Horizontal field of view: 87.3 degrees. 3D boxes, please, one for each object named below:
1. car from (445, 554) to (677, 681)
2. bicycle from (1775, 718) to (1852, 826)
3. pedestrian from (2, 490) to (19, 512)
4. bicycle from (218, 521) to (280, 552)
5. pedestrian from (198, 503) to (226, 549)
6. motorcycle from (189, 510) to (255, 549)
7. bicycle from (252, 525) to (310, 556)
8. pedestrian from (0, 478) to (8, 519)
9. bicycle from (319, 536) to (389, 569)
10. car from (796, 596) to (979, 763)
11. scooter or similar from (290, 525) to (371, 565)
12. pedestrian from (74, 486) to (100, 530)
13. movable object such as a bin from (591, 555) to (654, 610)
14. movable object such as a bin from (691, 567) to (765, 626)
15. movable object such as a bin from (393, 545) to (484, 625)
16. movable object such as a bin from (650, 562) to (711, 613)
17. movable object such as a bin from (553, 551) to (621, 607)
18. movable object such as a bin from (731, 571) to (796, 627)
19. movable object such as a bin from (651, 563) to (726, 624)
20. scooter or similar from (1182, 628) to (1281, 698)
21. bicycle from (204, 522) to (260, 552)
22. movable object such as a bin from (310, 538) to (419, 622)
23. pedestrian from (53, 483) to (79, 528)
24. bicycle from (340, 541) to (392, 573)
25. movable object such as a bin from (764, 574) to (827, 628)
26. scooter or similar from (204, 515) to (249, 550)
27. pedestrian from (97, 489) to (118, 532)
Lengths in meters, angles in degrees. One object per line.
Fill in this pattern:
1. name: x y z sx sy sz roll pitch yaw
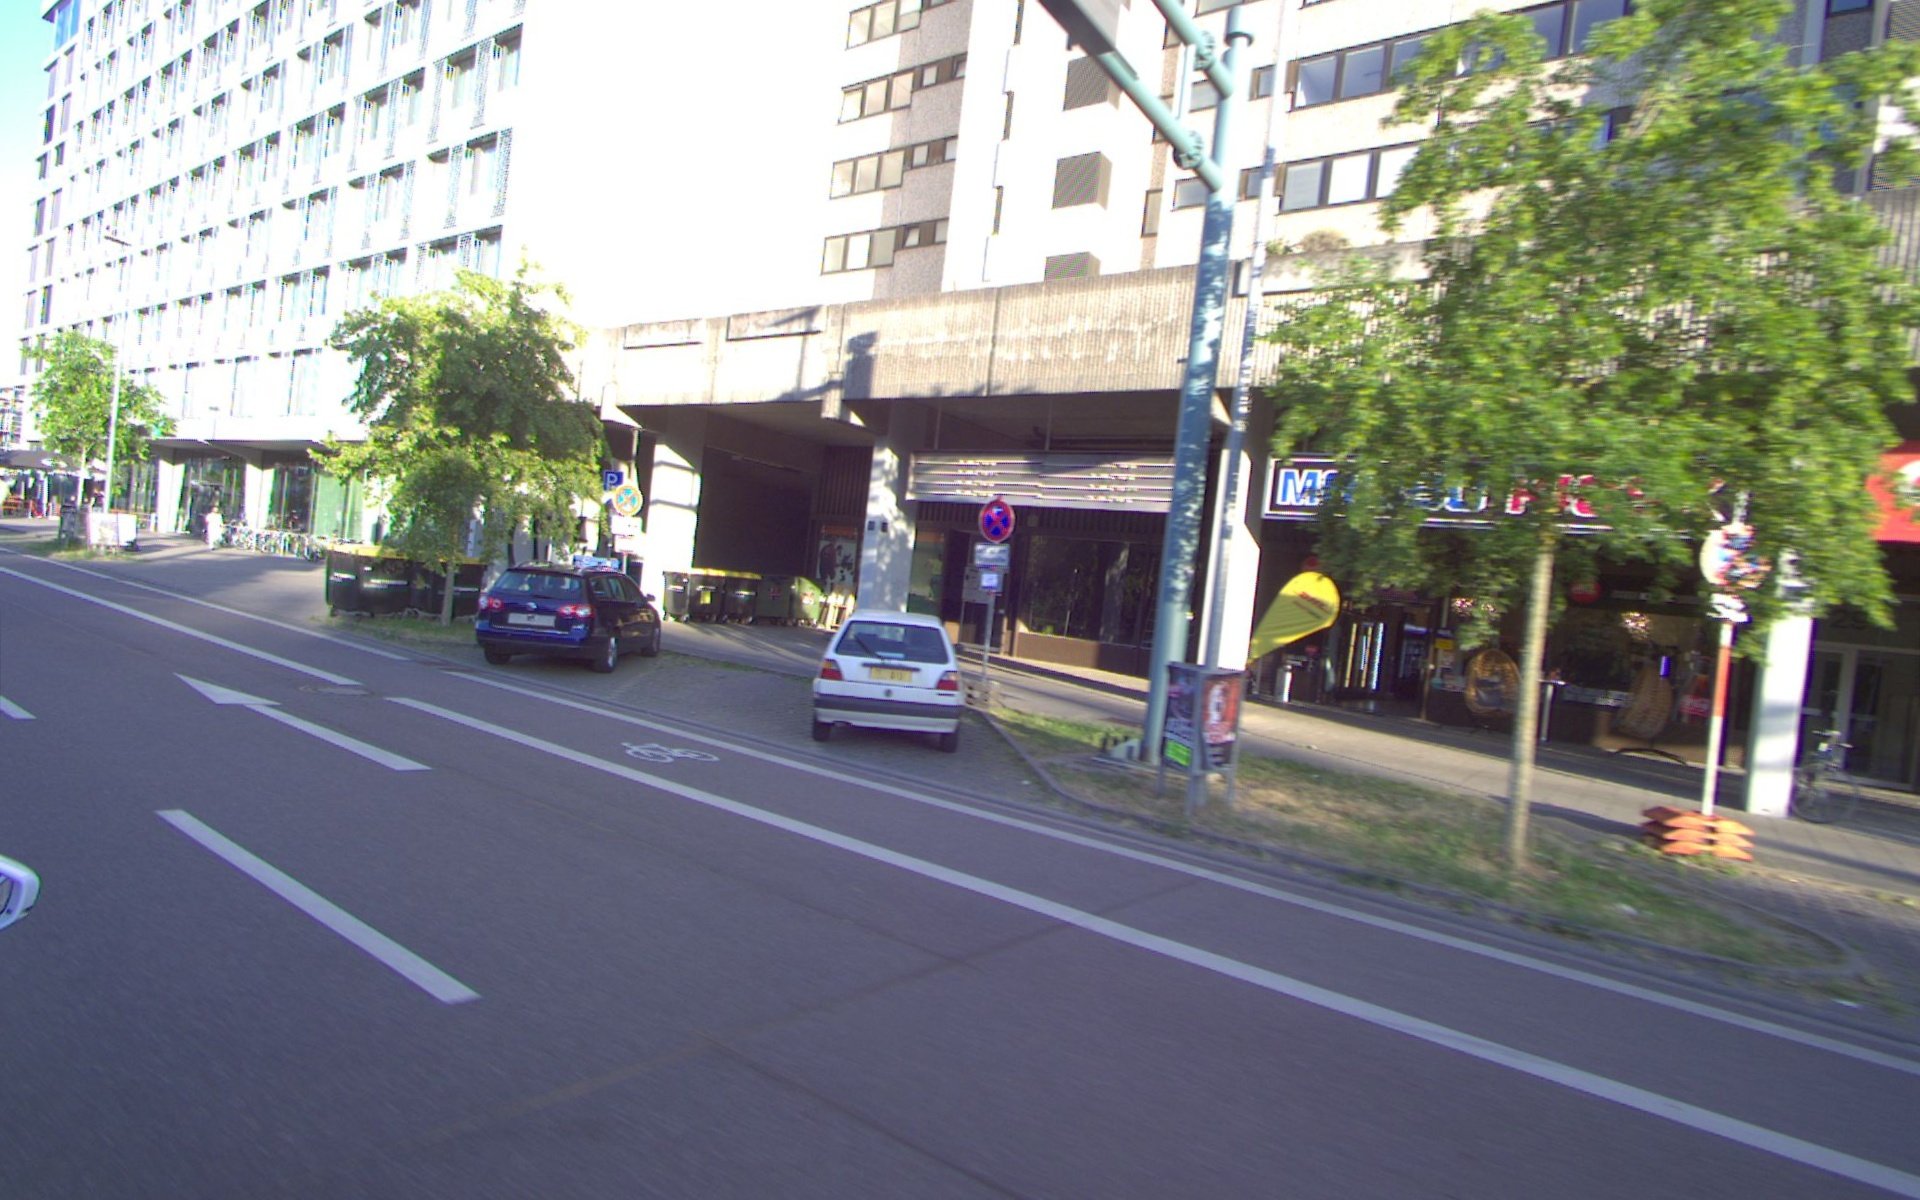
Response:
1. car: -5.952 0.163 15.700 1.904 1.528 4.662 5 2 -4
2. bicycle: 10.220 2.026 12.081 0.426 1.062 1.571 7 3 34
3. pedestrian: -62.471 -6.533 66.210 0.742 1.337 0.706 2 4 -41
4. bicycle: -27.906 -2.481 39.507 0.556 1.023 1.884 7 2 34
5. pedestrian: -27.761 -2.746 37.351 0.632 1.641 0.576 8 3 33
6. motorcycle: -30.725 -2.927 41.910 0.659 1.405 2.116 7 2 22
7. bicycle: -25.684 -2.230 38.085 0.542 0.999 1.699 7 2 32
8. pedestrian: -45.715 -4.839 47.649 0.855 1.913 0.822 6 2 44
9. bicycle: -21.455 -1.664 35.657 0.610 0.970 2.018 7 1 29
10. car: -0.796 0.796 12.136 1.719 1.435 3.986 5 2 -2
11. scooter or similar: -22.783 -1.972 36.469 0.611 1.198 2.371 7 2 35
12. pedestrian: -38.817 -4.099 44.735 0.753 1.849 0.928 3 3 -45
13. movable object such as a bin: -9.424 -0.494 28.133 1.183 1.347 1.074 7 2 35
14. movable object such as a bin: -5.954 -0.078 25.821 1.284 1.315 1.182 7 1 34
15. movable object such as a bin: -9.878 -0.277 19.065 1.141 1.365 1.014 7 4 31
16. movable object such as a bin: -8.339 -0.374 29.992 1.263 1.347 1.074 7 2 35
17. movable object such as a bin: -10.071 -0.570 27.164 1.263 1.347 1.104 7 3 35
18. movable object such as a bin: -5.270 -0.028 27.010 1.107 1.330 1.182 7 1 34
19. movable object such as a bin: -6.651 -0.153 24.638 1.246 1.341 1.180 7 4 34
20. scooter or similar: 5.586 1.298 20.715 1.798 1.174 0.402 8 -1 26
21. bicycle: -29.517 -2.547 40.819 0.542 0.999 1.700 7 2 32
22. movable object such as a bin: -10.586 -0.351 17.898 1.338 1.319 1.085 7 3 29
23. pedestrian: -39.290 -4.160 44.210 0.741 1.874 0.928 2 4 -45
24. bicycle: -20.294 -1.469 34.376 0.450 0.902 1.422 7 1 35
25. movable object such as a bin: -4.580 0.033 28.045 1.070 1.330 1.182 7 1 34
26. scooter or similar: -29.230 -2.691 40.108 0.598 1.250 1.268 7 3 31
27. pedestrian: -38.414 -4.040 45.317 0.616 1.836 0.767 1 4 -45
